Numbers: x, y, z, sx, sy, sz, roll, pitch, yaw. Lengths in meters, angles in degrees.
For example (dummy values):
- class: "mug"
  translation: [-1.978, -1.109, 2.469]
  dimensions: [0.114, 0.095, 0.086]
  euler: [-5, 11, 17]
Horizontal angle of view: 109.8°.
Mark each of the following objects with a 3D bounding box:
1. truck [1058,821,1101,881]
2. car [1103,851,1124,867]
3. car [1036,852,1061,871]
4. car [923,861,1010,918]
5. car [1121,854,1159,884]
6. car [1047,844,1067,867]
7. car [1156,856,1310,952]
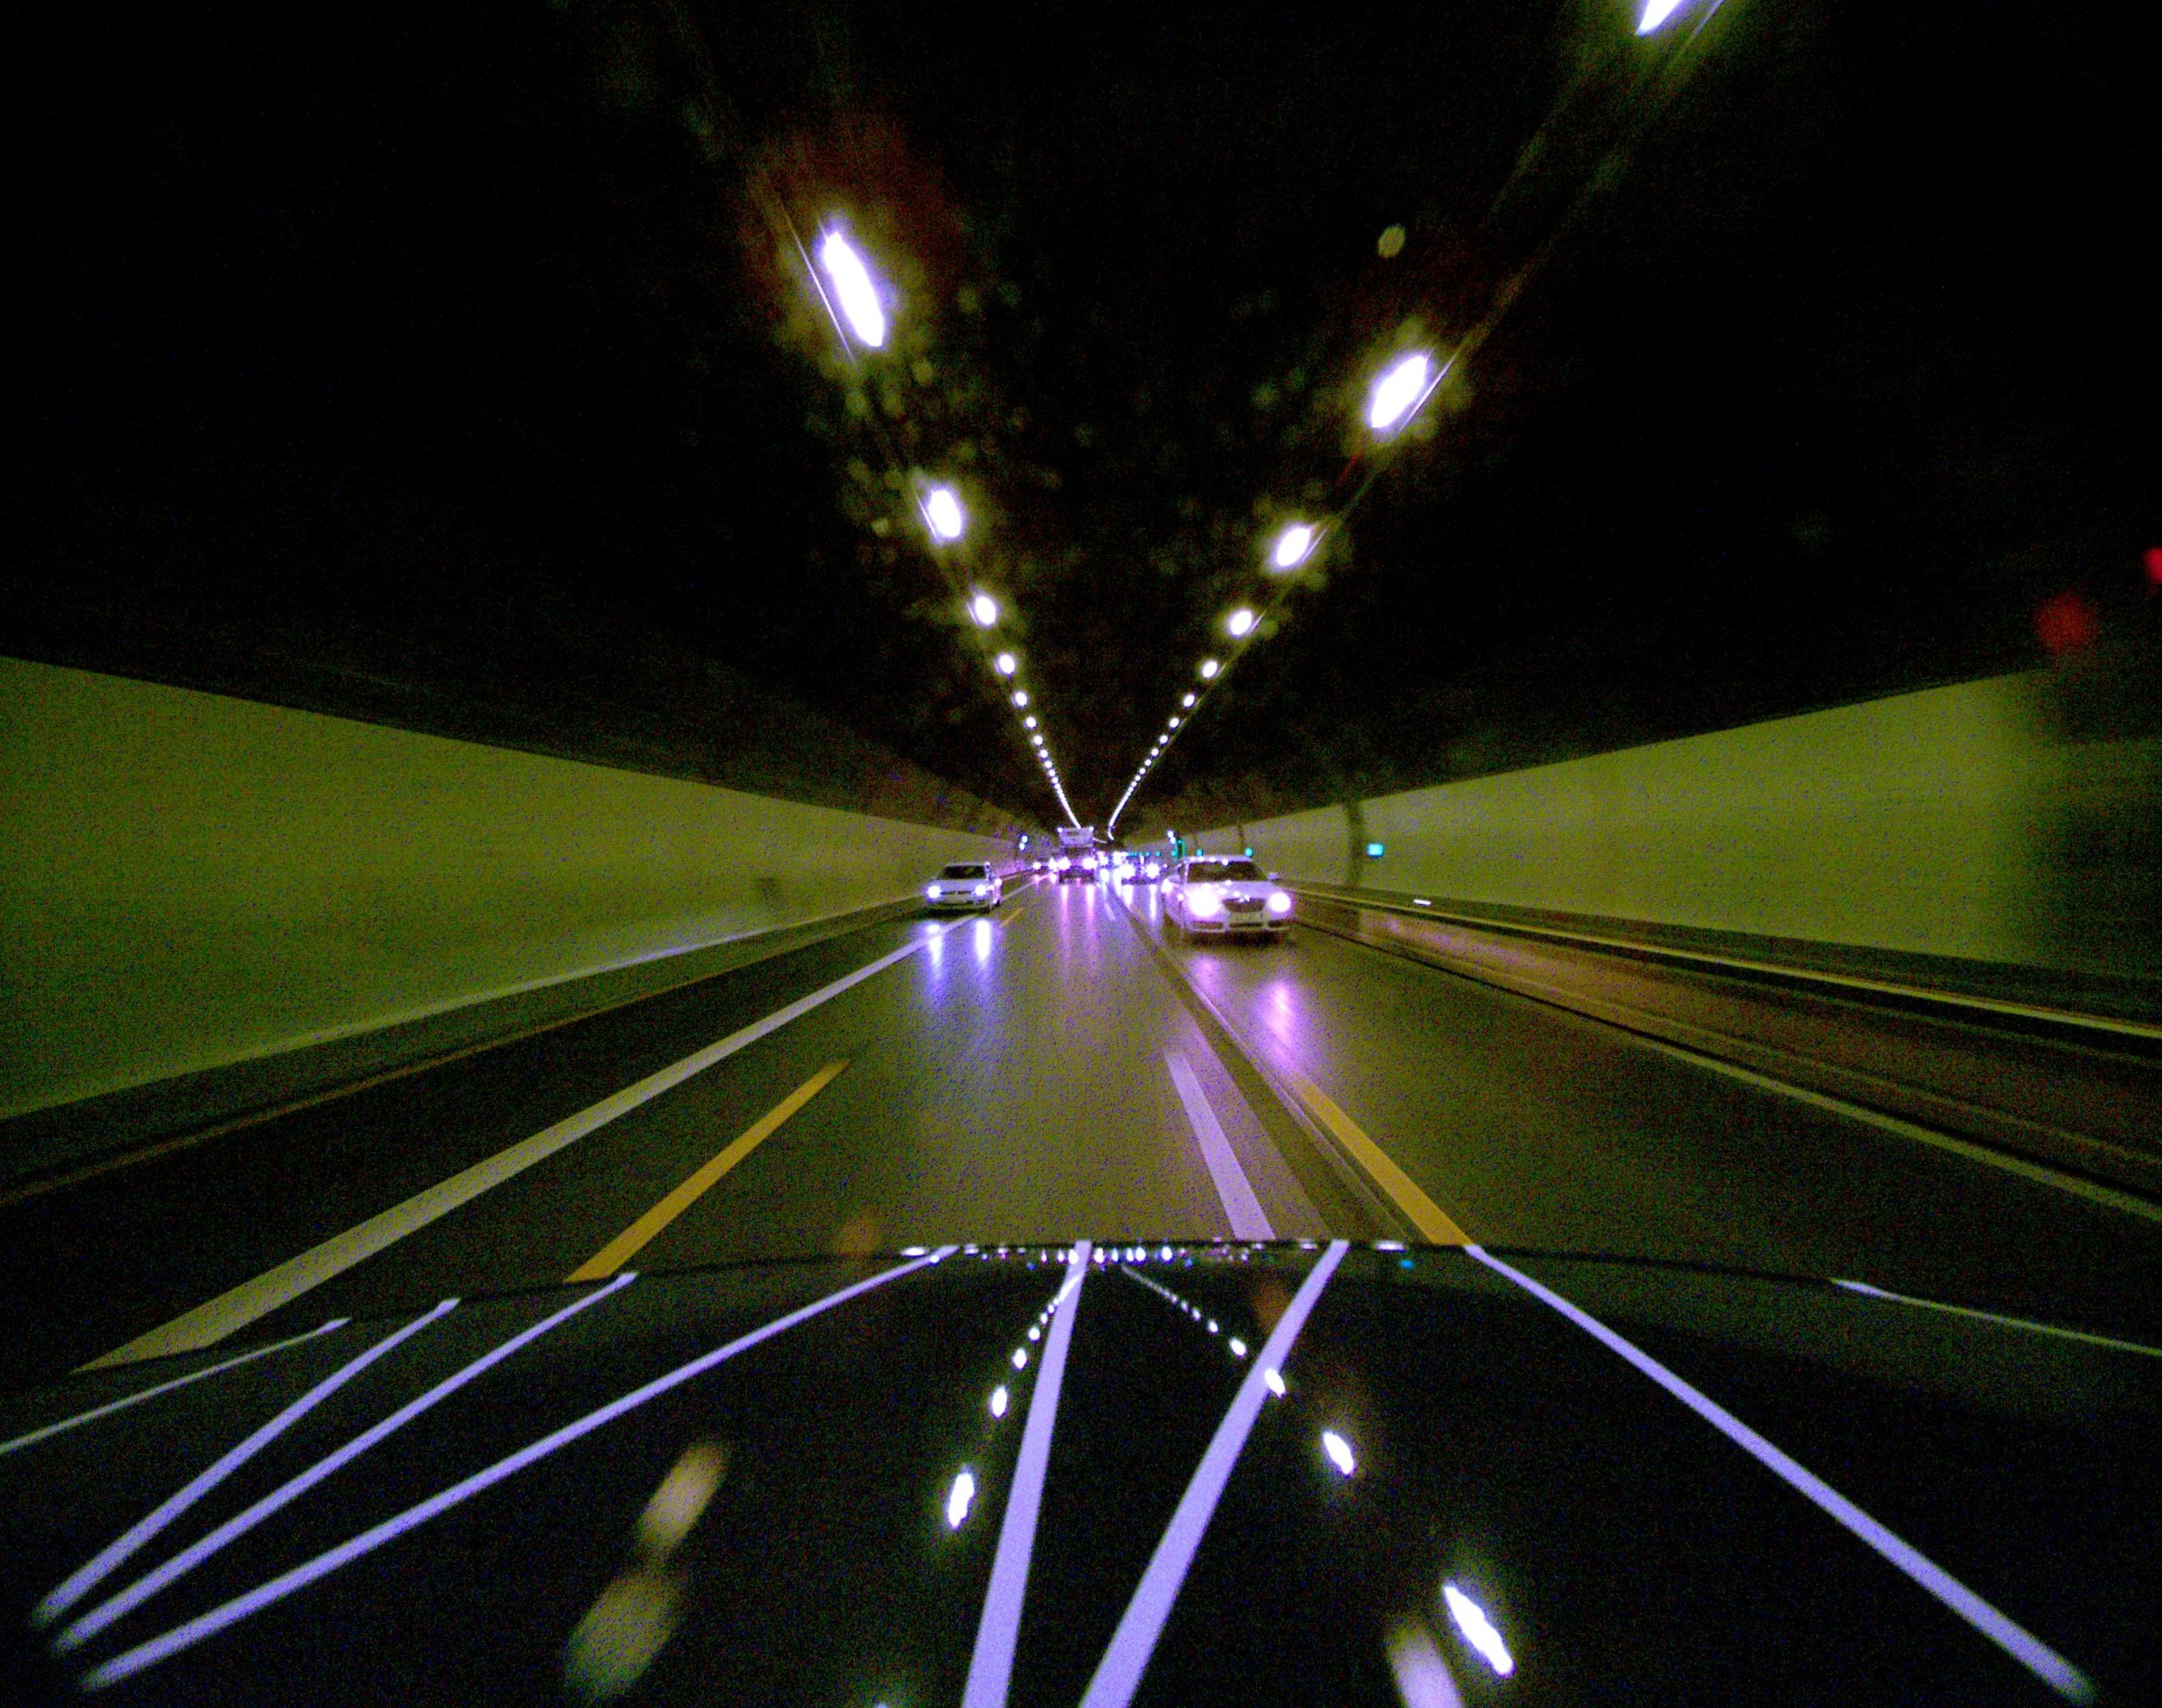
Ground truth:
- class: "truck"
  translation: [-0.083, -0.200, 46.072]
  dimensions: [2.262, 3.238, 7.382]
  euler: [-2, 1, 0]
- class: "car"
  translation: [3.614, 0.540, 84.638]
  dimensions: [1.958, 1.528, 4.757]
  euler: [-5, 1, 0]
- class: "car"
  translation: [-2.886, 0.682, 68.839]
  dimensions: [1.958, 1.528, 4.757]
  euler: [-3, 1, 0]
- class: "car"
  translation: [-3.305, 0.991, 22.741]
  dimensions: [1.801, 1.452, 4.035]
  euler: [-2, 0, 2]
- class: "car"
  translation: [3.008, 0.731, 39.450]
  dimensions: [1.657, 1.395, 3.656]
  euler: [-2, 1, 0]
- class: "car"
  translation: [-3.016, 0.145, 96.909]
  dimensions: [2.124, 2.629, 6.229]
  euler: [-3, 1, 0]
- class: "car"
  translation: [2.631, 0.797, 14.395]
  dimensions: [1.908, 1.476, 4.943]
  euler: [-1, 0, 0]
